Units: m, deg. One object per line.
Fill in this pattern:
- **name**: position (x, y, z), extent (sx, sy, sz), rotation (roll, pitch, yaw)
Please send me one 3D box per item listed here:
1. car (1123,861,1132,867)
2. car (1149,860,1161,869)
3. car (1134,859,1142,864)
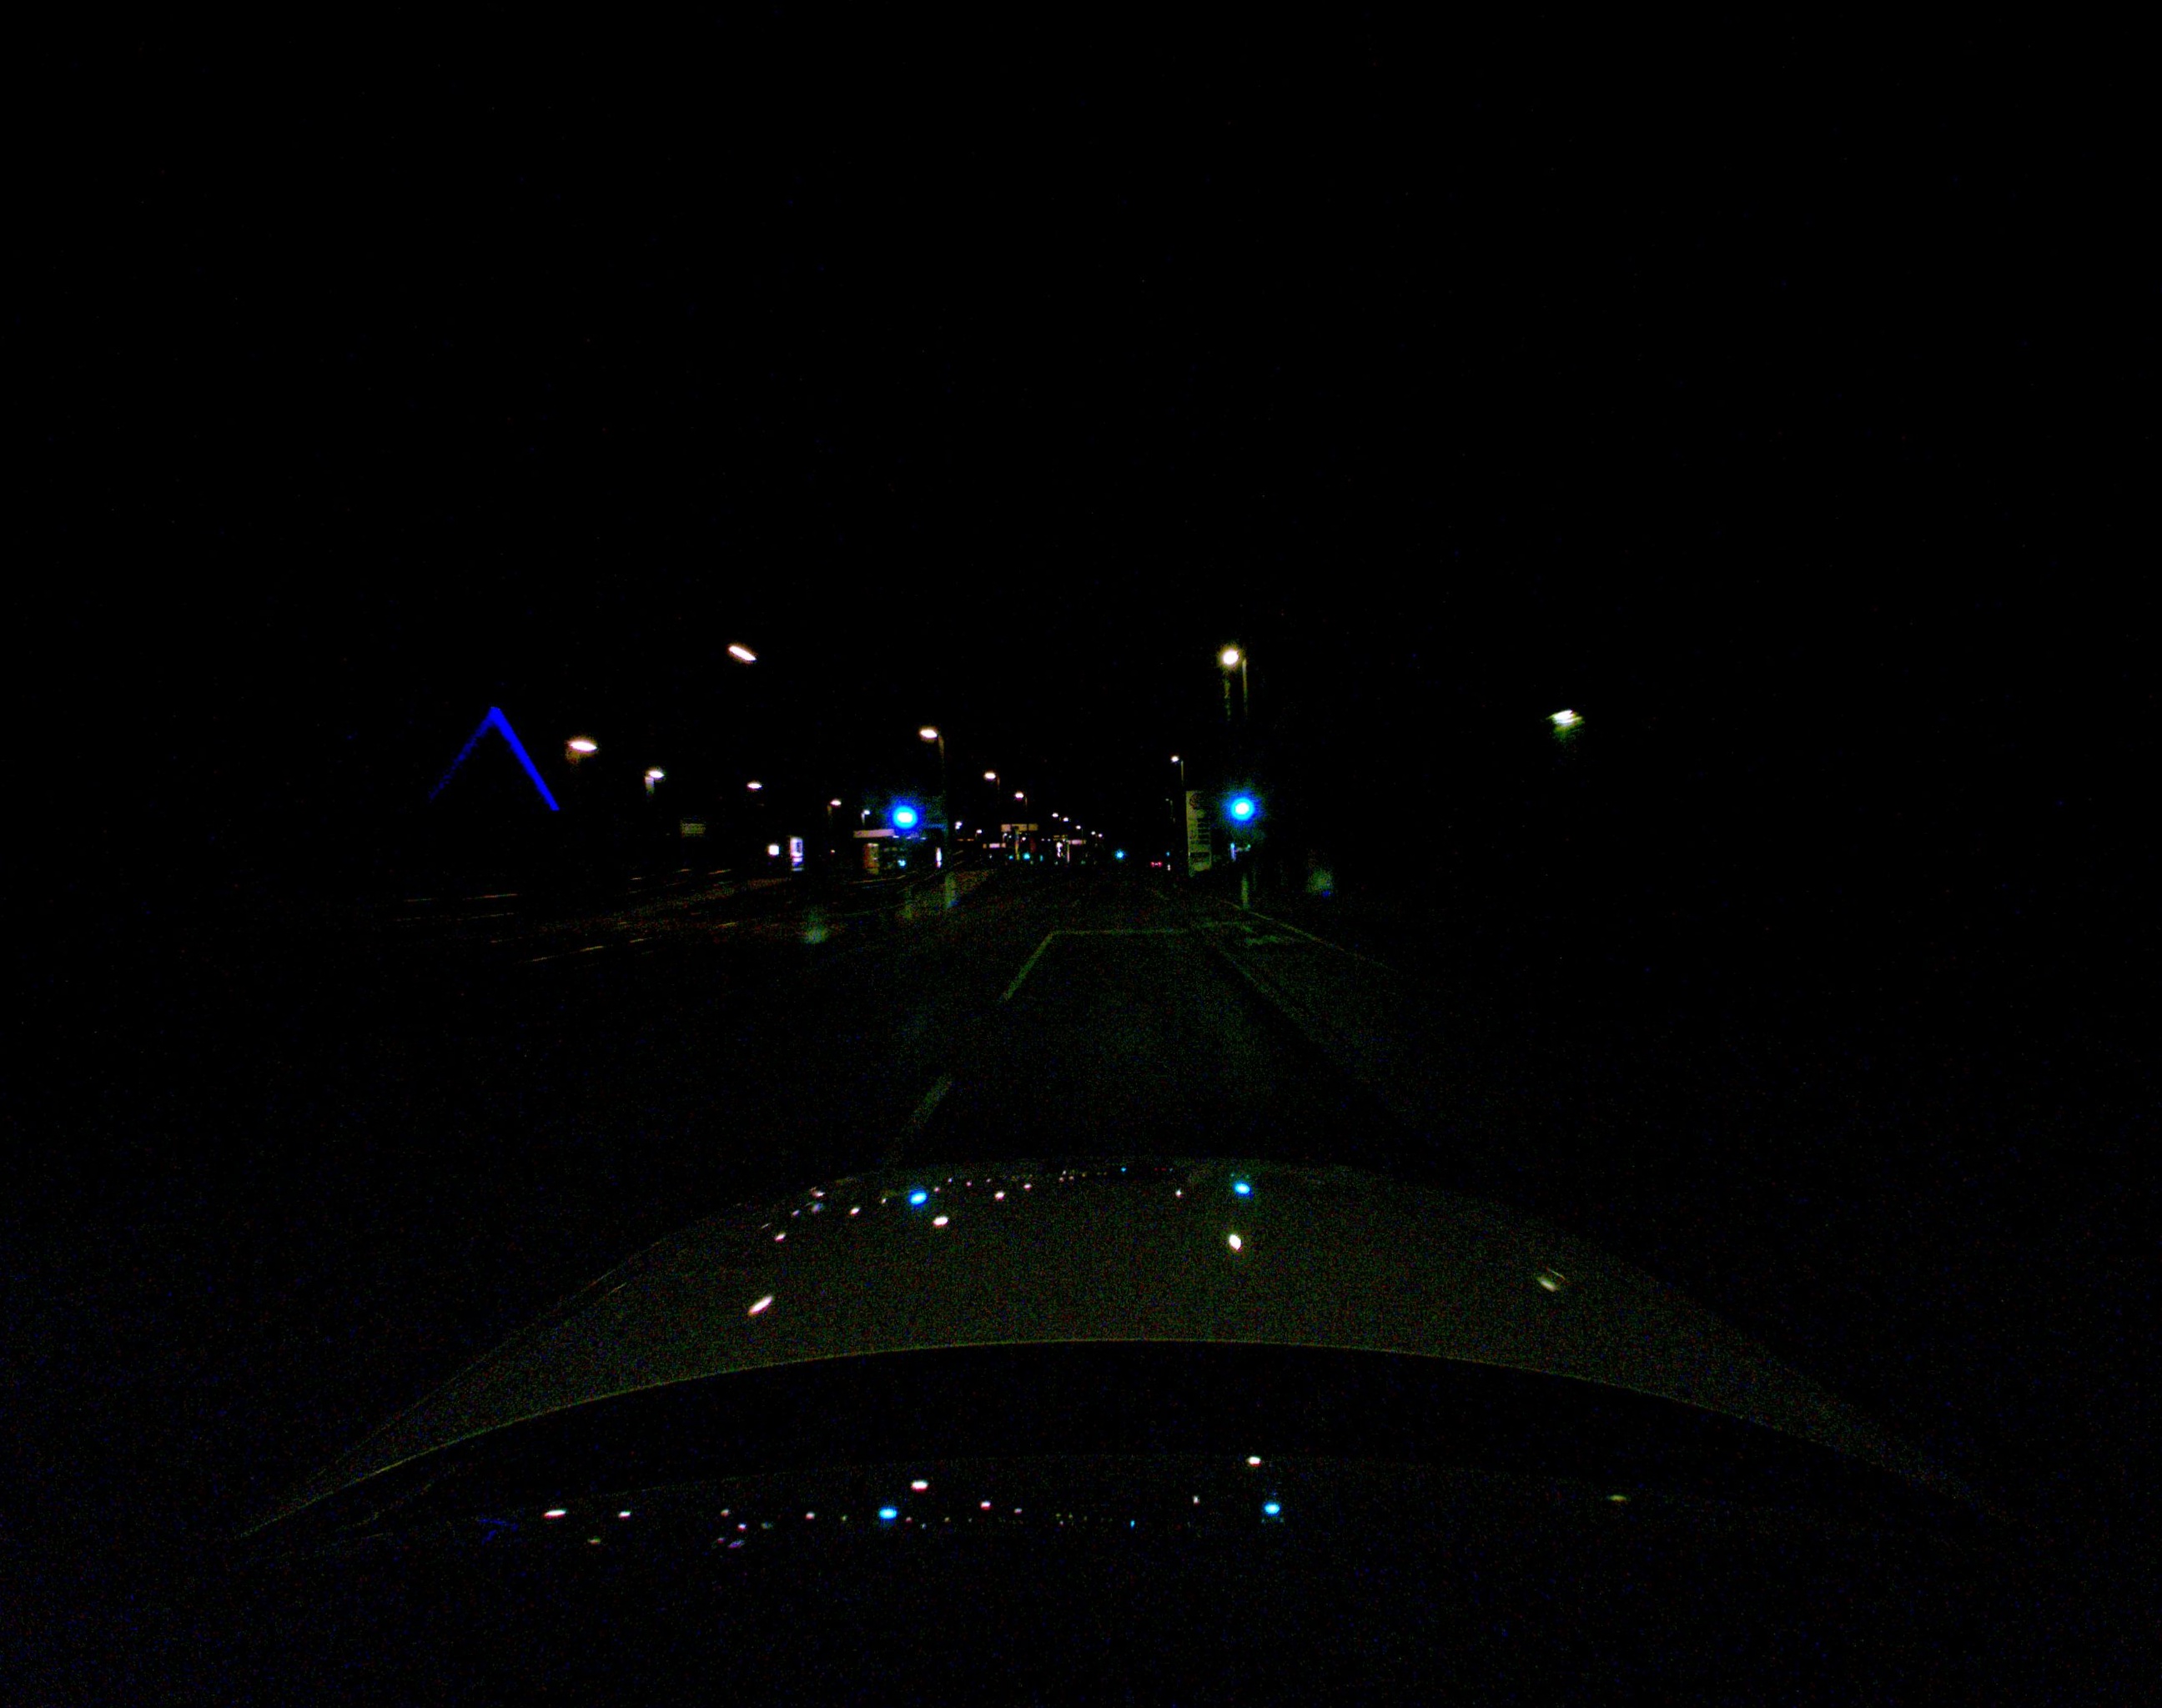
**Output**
- **car**: position (13.412, 2.787, 235.759), extent (1.981, 1.628, 4.690), rotation (-2, -1, 10)
- **car**: position (13.745, 1.954, 151.865), extent (2.150, 1.583, 4.020), rotation (-1, -1, 6)
- **car**: position (17.897, 2.416, 255.171), extent (1.981, 1.338, 5.447), rotation (-2, -1, 10)
